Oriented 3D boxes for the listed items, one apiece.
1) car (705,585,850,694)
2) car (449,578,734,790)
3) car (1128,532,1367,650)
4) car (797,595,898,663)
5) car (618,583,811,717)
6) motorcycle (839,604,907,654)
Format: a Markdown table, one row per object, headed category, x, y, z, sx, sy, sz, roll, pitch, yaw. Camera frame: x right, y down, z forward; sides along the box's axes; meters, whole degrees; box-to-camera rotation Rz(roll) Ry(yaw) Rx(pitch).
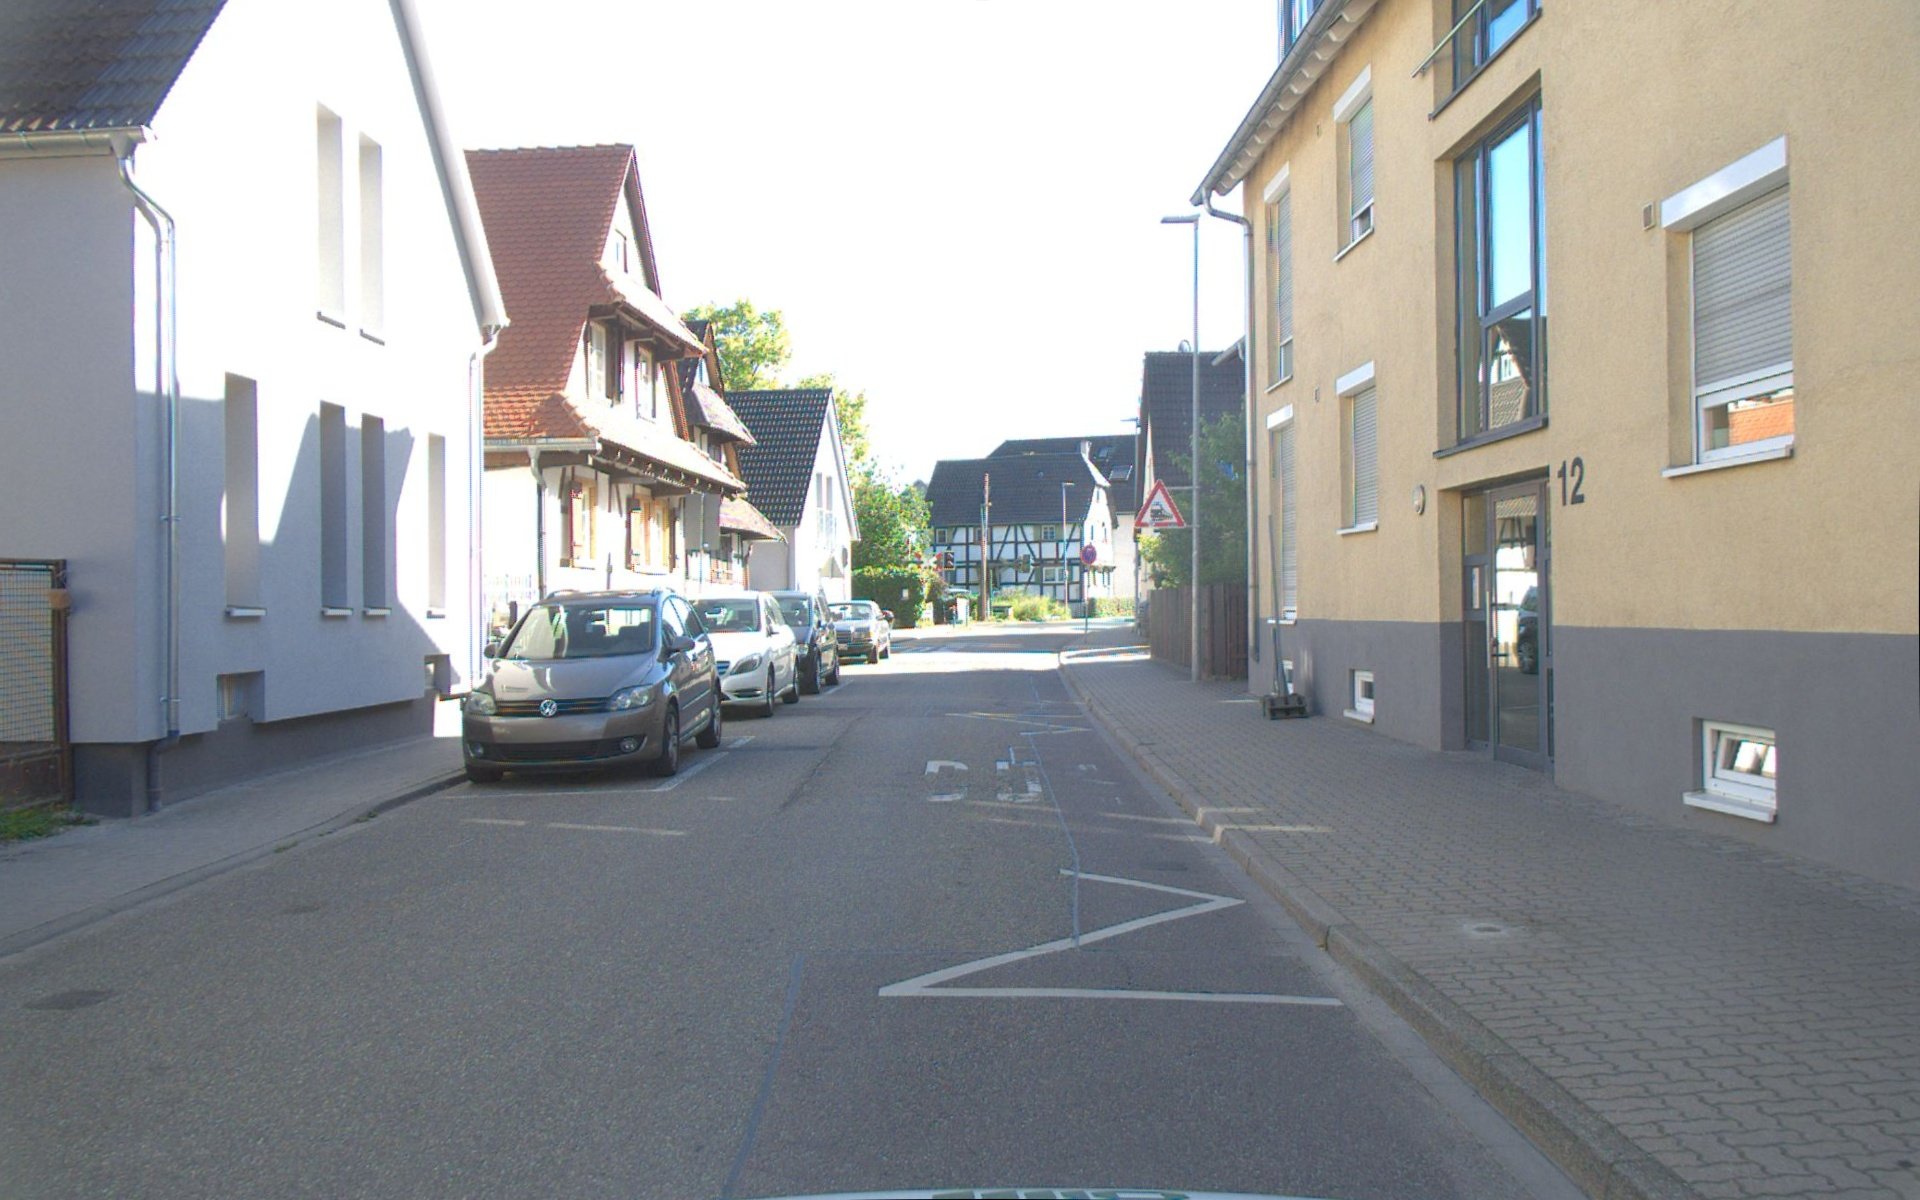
| category | x | y | z | sx | sy | sz | roll | pitch | yaw |
| --- | --- | --- | --- | --- | --- | --- | --- | --- | --- |
| car | -2.948 | 0.605 | 27.553 | 1.746 | 1.633 | 4.362 | -1 | 0 | 2 |
| car | -3.193 | 0.676 | 15.104 | 1.707 | 1.642 | 3.999 | -1 | 0 | -1 |
| car | 7.327 | -0.219 | 42.564 | 5.687 | 2.701 | 1.967 | -3 | -1 | -2 |
| car | -2.591 | 0.651 | 39.042 | 1.806 | 1.431 | 5.038 | -2 | 0 | 2 |
| car | -3.156 | 0.619 | 22.075 | 1.778 | 1.594 | 4.169 | -1 | 0 | 2 |
| motorcycle | -2.263 | 0.754 | 42.712 | 0.622 | 1.253 | 1.963 | -2 | 0 | -43 |
